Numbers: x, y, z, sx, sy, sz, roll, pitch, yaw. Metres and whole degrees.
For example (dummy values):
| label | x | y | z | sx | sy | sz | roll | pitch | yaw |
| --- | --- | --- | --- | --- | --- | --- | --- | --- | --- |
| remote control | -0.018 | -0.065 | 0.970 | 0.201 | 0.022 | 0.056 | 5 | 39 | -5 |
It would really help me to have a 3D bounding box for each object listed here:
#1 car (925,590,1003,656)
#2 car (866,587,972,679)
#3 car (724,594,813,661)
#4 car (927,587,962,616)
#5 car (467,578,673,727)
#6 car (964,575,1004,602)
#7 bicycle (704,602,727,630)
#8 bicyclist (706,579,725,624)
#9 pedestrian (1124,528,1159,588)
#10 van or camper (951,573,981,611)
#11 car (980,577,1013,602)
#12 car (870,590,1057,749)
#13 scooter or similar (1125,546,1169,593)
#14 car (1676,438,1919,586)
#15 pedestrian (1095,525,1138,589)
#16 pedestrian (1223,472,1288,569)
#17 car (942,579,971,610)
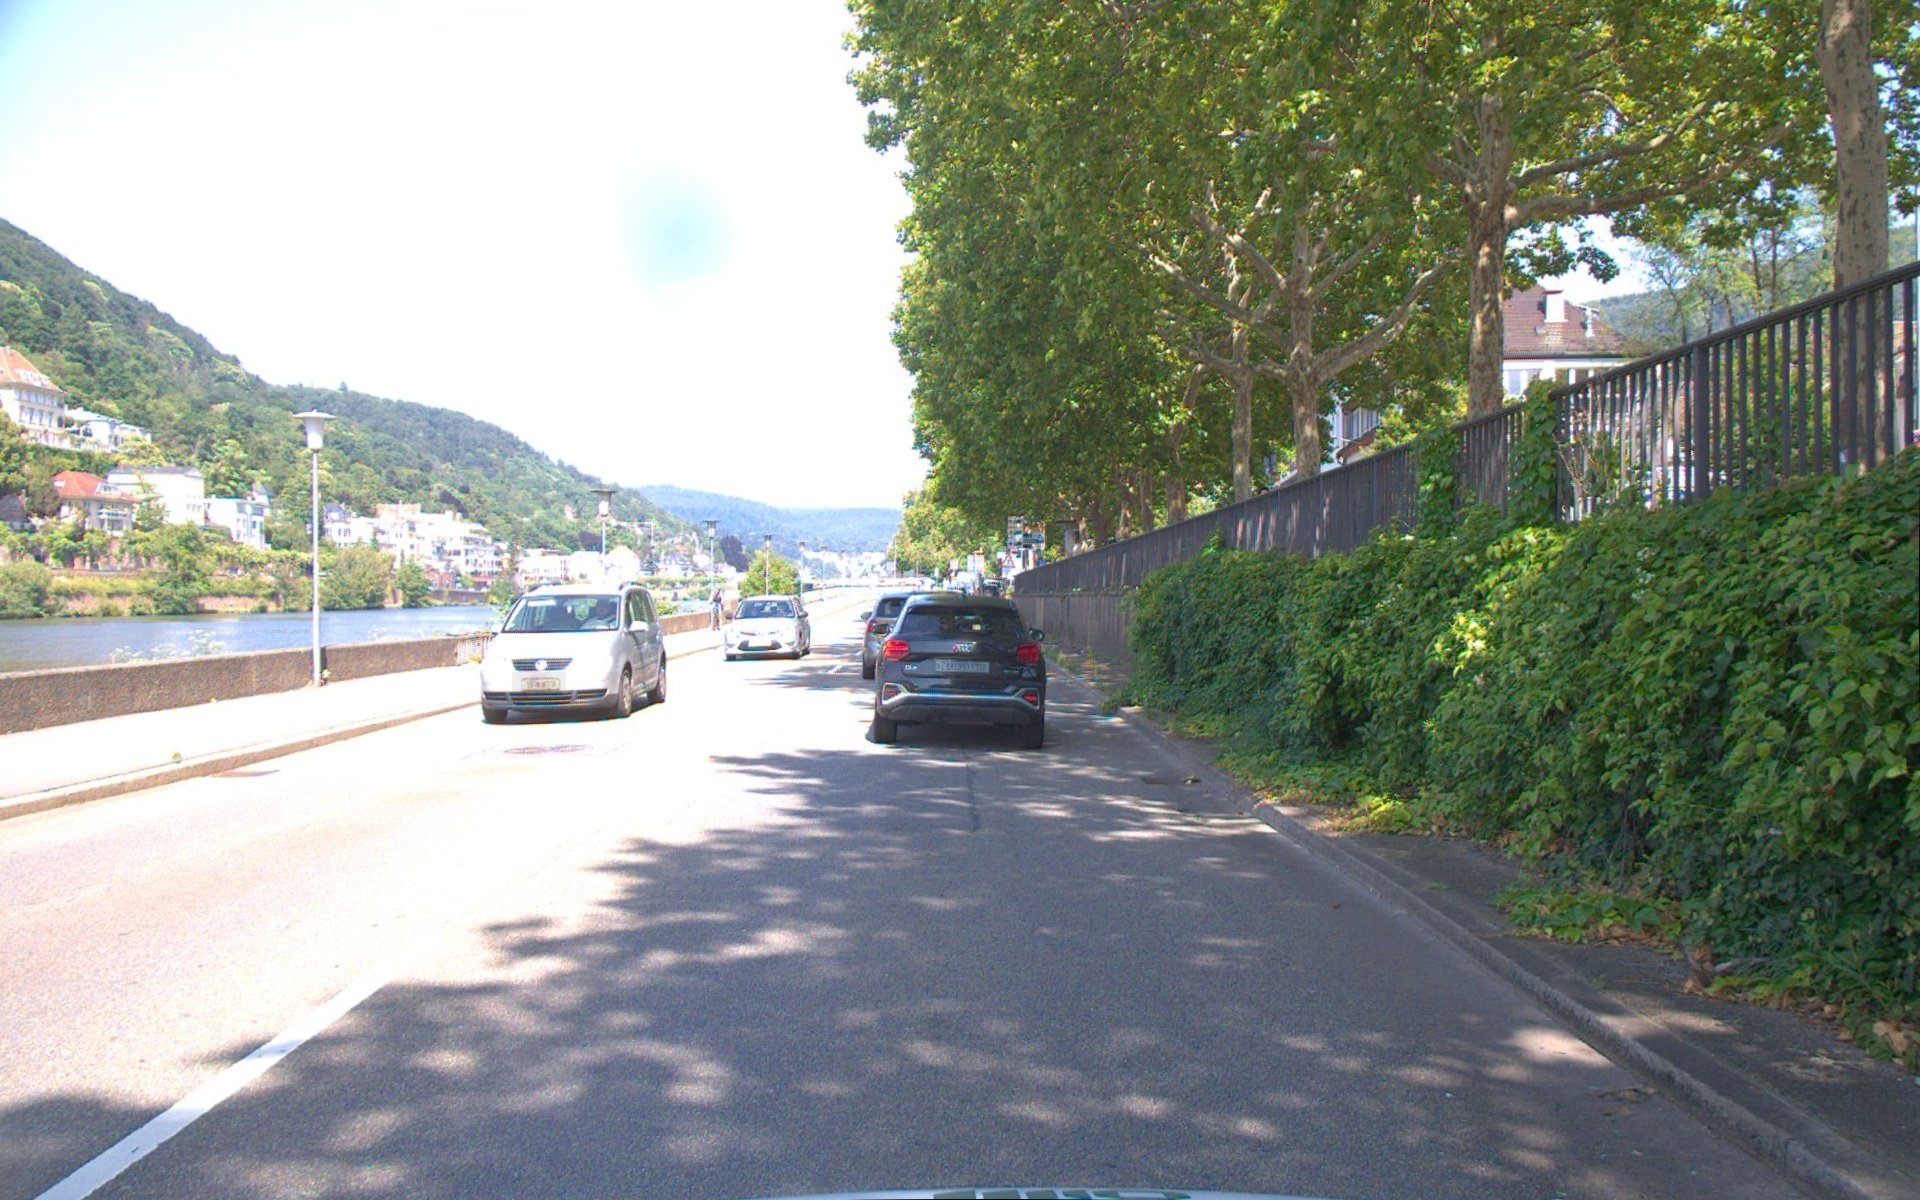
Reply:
| label | x | y | z | sx | sy | sz | roll | pitch | yaw |
| --- | --- | --- | --- | --- | --- | --- | --- | --- | --- |
| car | 0.053 | 0.529 | 40.644 | 1.791 | 1.512 | 3.999 | 1 | 0 | -1 |
| car | -0.750 | 0.551 | 30.317 | 1.791 | 1.537 | 3.999 | 1 | 0 | -1 |
| car | -4.507 | 0.608 | 39.390 | 1.696 | 1.467 | 4.044 | -1 | 0 | -1 |
| car | -0.853 | 0.087 | 87.588 | 1.791 | 1.470 | 3.999 | 1 | 0 | -1 |
| car | -4.887 | 0.602 | 21.278 | 1.696 | 1.679 | 4.176 | -2 | 0 | -1 |
| car | 2.002 | -0.984 | 139.053 | 3.036 | 2.048 | 5.823 | -3 | 0 | -2 |
| bicycle | -9.321 | 0.600 | 63.058 | 0.619 | 1.029 | 1.985 | 0 | 0 | -1 |
| bicyclist | -9.325 | 0.048 | 63.140 | 0.624 | 1.703 | 0.871 | 0 | 0 | -2 |
| pedestrian | 4.385 | -1.008 | 40.043 | 0.666 | 1.389 | 0.989 | -3 | 0 | -2 |
| van or camper | 0.461 | -0.636 | 127.449 | 2.262 | 2.897 | 4.246 | 0 | 0 | 1 |
| car | 3.292 | -0.931 | 149.606 | 2.608 | 2.048 | 5.823 | -3 | 0 | -1 |
| car | -0.011 | 0.665 | 18.064 | 1.791 | 1.512 | 3.999 | 1 | 0 | -1 |
| scooter or similar | 4.408 | -0.714 | 39.090 | 0.838 | 1.044 | 1.107 | -3 | 0 | -2 |
| car | 9.039 | -0.853 | 15.842 | 3.657 | 1.256 | 1.671 | -3 | 0 | -10 |
| pedestrian | 4.119 | -1.128 | 43.629 | 0.918 | 1.607 | 1.027 | -3 | 0 | -3 |
| pedestrian | 4.428 | -1.175 | 24.821 | 0.738 | 1.389 | 0.814 | -3 | 0 | -3 |
| car | -0.270 | -0.398 | 117.714 | 1.953 | 2.207 | 3.999 | 0 | 0 | -2 |
